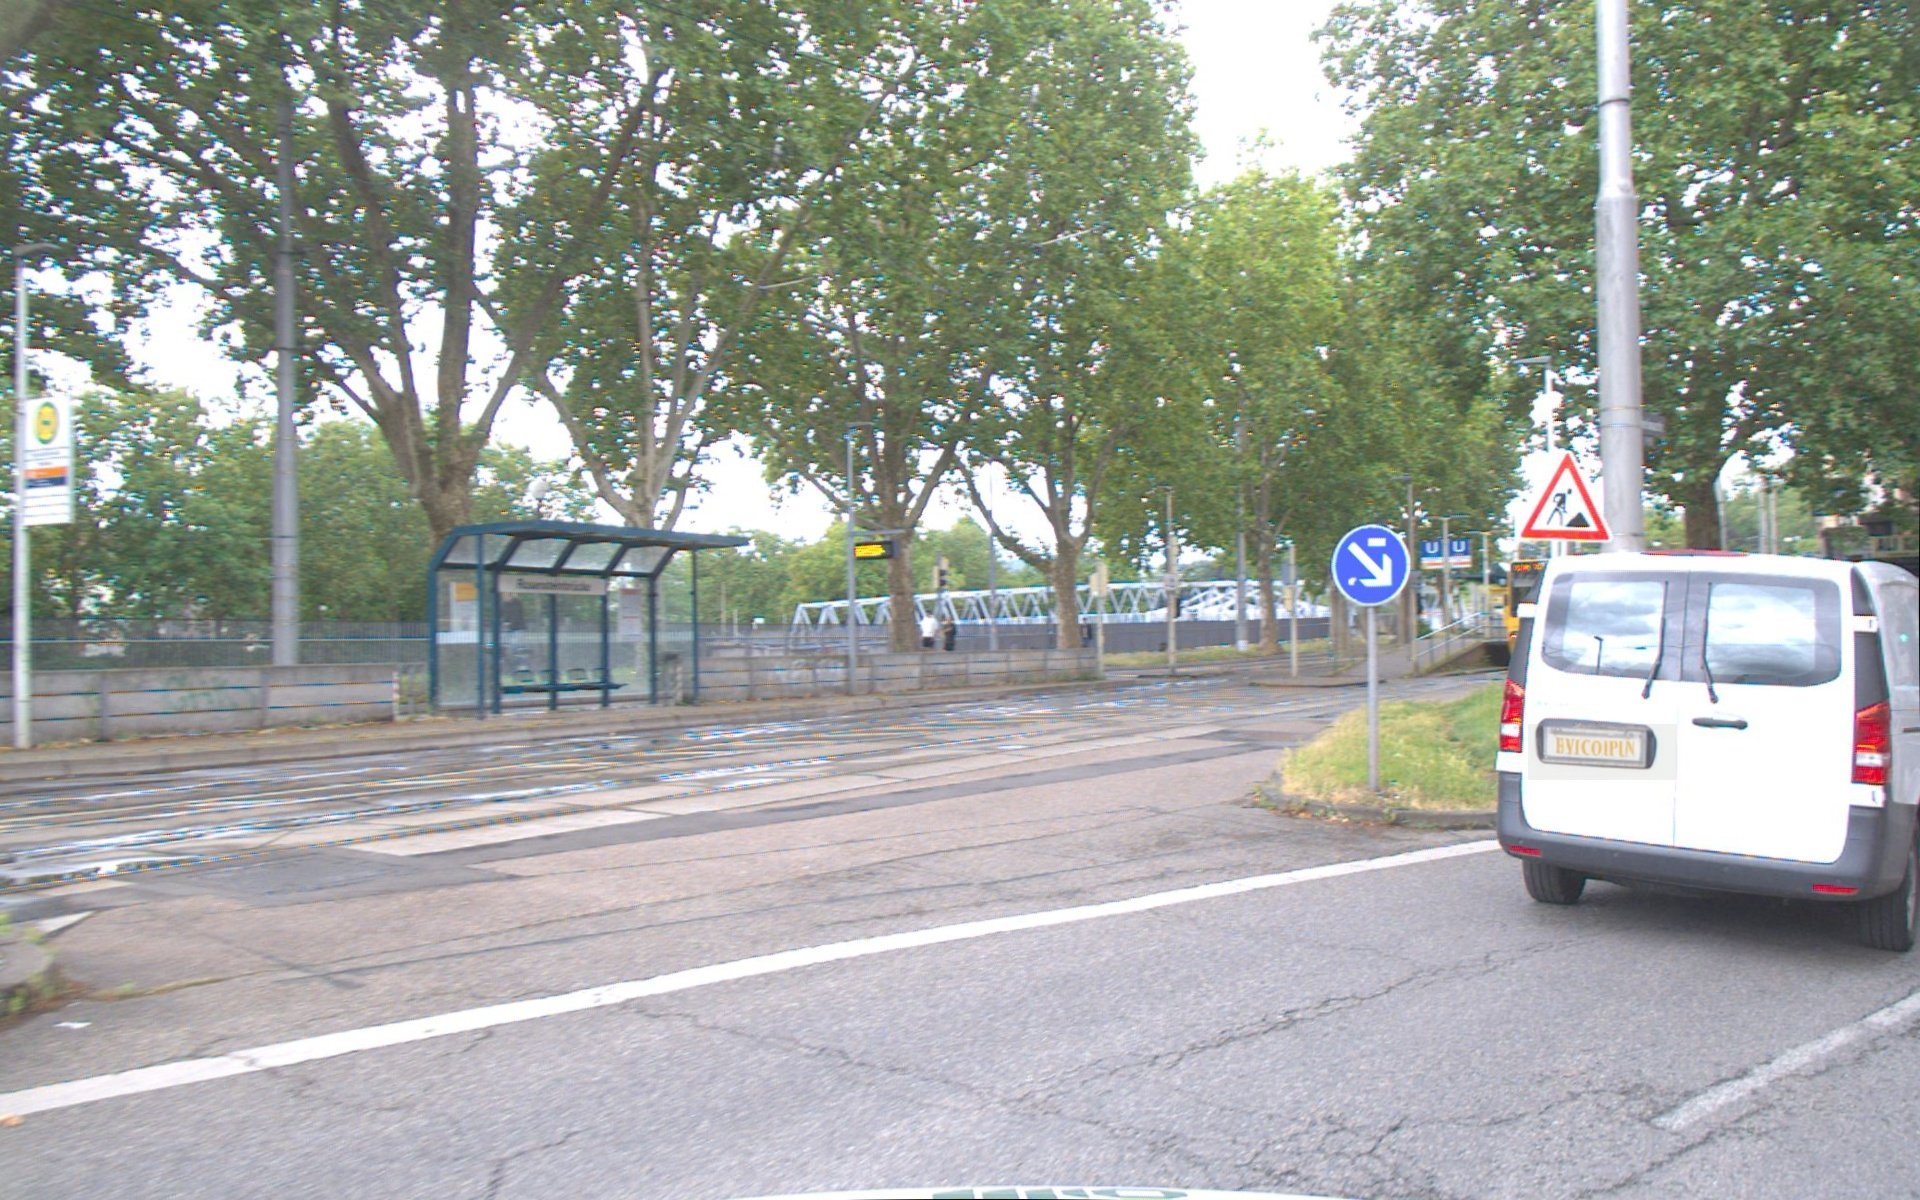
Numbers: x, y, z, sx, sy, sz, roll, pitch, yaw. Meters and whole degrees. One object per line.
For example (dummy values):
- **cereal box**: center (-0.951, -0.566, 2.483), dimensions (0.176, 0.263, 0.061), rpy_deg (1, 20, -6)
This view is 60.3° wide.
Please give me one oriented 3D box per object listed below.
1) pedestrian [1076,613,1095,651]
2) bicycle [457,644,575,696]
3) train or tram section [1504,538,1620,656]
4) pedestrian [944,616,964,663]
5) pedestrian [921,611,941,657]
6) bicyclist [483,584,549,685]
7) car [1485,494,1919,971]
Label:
- **pedestrian**: center (5.046, 1.288, 66.477), dimensions (0.533, 1.524, 0.643), rpy_deg (-1, -1, 25)
- **bicycle**: center (-9.221, 1.472, 34.459), dimensions (0.913, 1.032, 2.493), rpy_deg (-3, -3, 29)
- **train or tram section**: center (20.113, 0.031, 55.027), dimensions (2.529, 3.512, 7.745), rpy_deg (-3, -3, 27)
- **pedestrian**: center (-0.200, 1.289, 53.782), dimensions (0.462, 1.477, 0.510), rpy_deg (-2, -4, 25)
- **pedestrian**: center (-0.948, 1.112, 54.146), dimensions (0.462, 1.477, 0.510), rpy_deg (-2, -4, 25)
- **bicyclist**: center (-9.247, 0.741, 34.452), dimensions (0.937, 2.049, 0.975), rpy_deg (-3, -4, 29)
- **car**: center (4.771, 0.652, 9.583), dimensions (1.918, 2.049, 4.679), rpy_deg (-1, -2, 36)
